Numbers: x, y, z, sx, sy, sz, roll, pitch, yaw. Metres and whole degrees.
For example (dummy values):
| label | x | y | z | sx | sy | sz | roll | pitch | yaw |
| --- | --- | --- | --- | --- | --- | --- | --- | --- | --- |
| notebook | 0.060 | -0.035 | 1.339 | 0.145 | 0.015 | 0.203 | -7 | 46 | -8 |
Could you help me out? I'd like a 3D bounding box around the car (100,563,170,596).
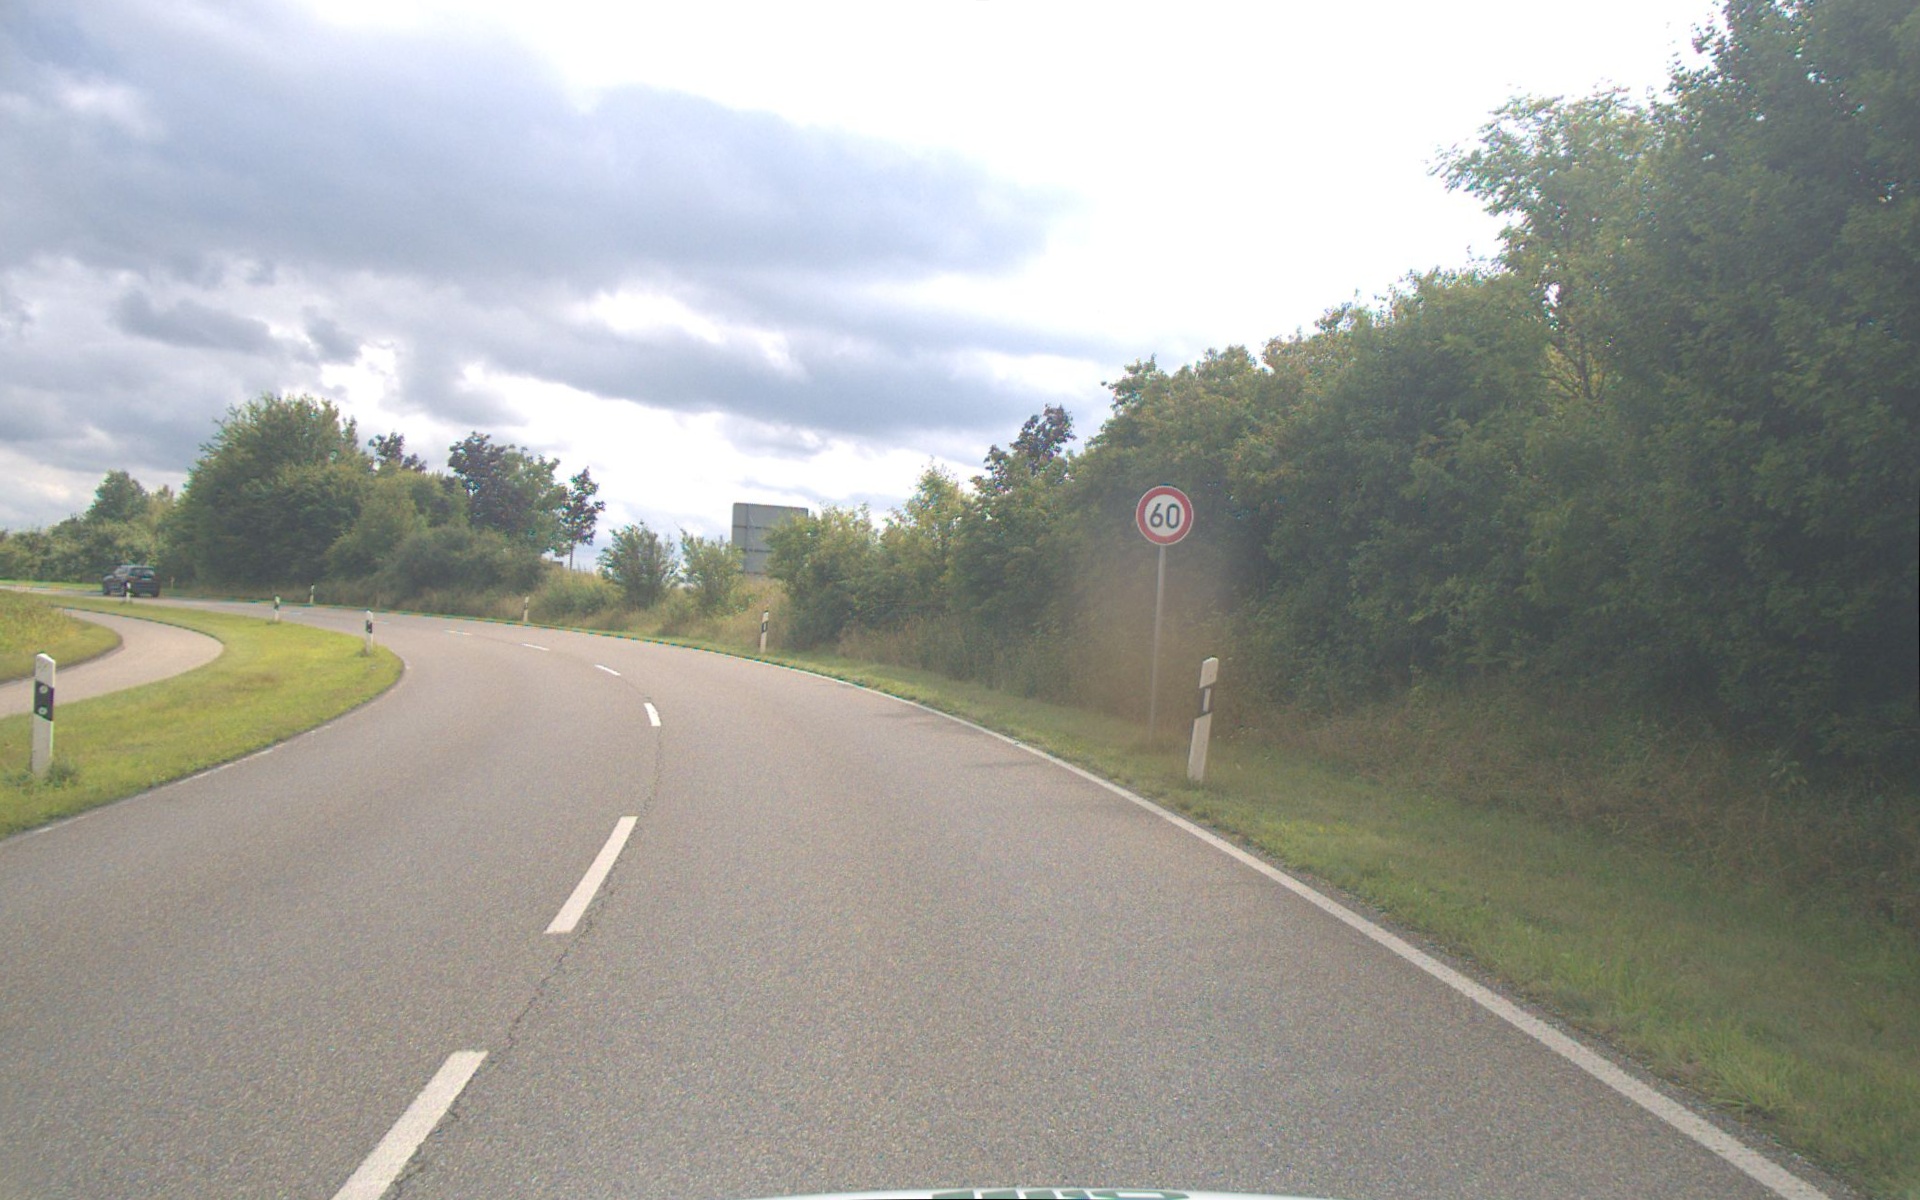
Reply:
| label | x | y | z | sx | sy | sz | roll | pitch | yaw |
| --- | --- | --- | --- | --- | --- | --- | --- | --- | --- |
| car | -45.020 | -1.138 | 90.201 | 3.923 | 1.695 | 1.904 | 2 | 0 | 38 |
